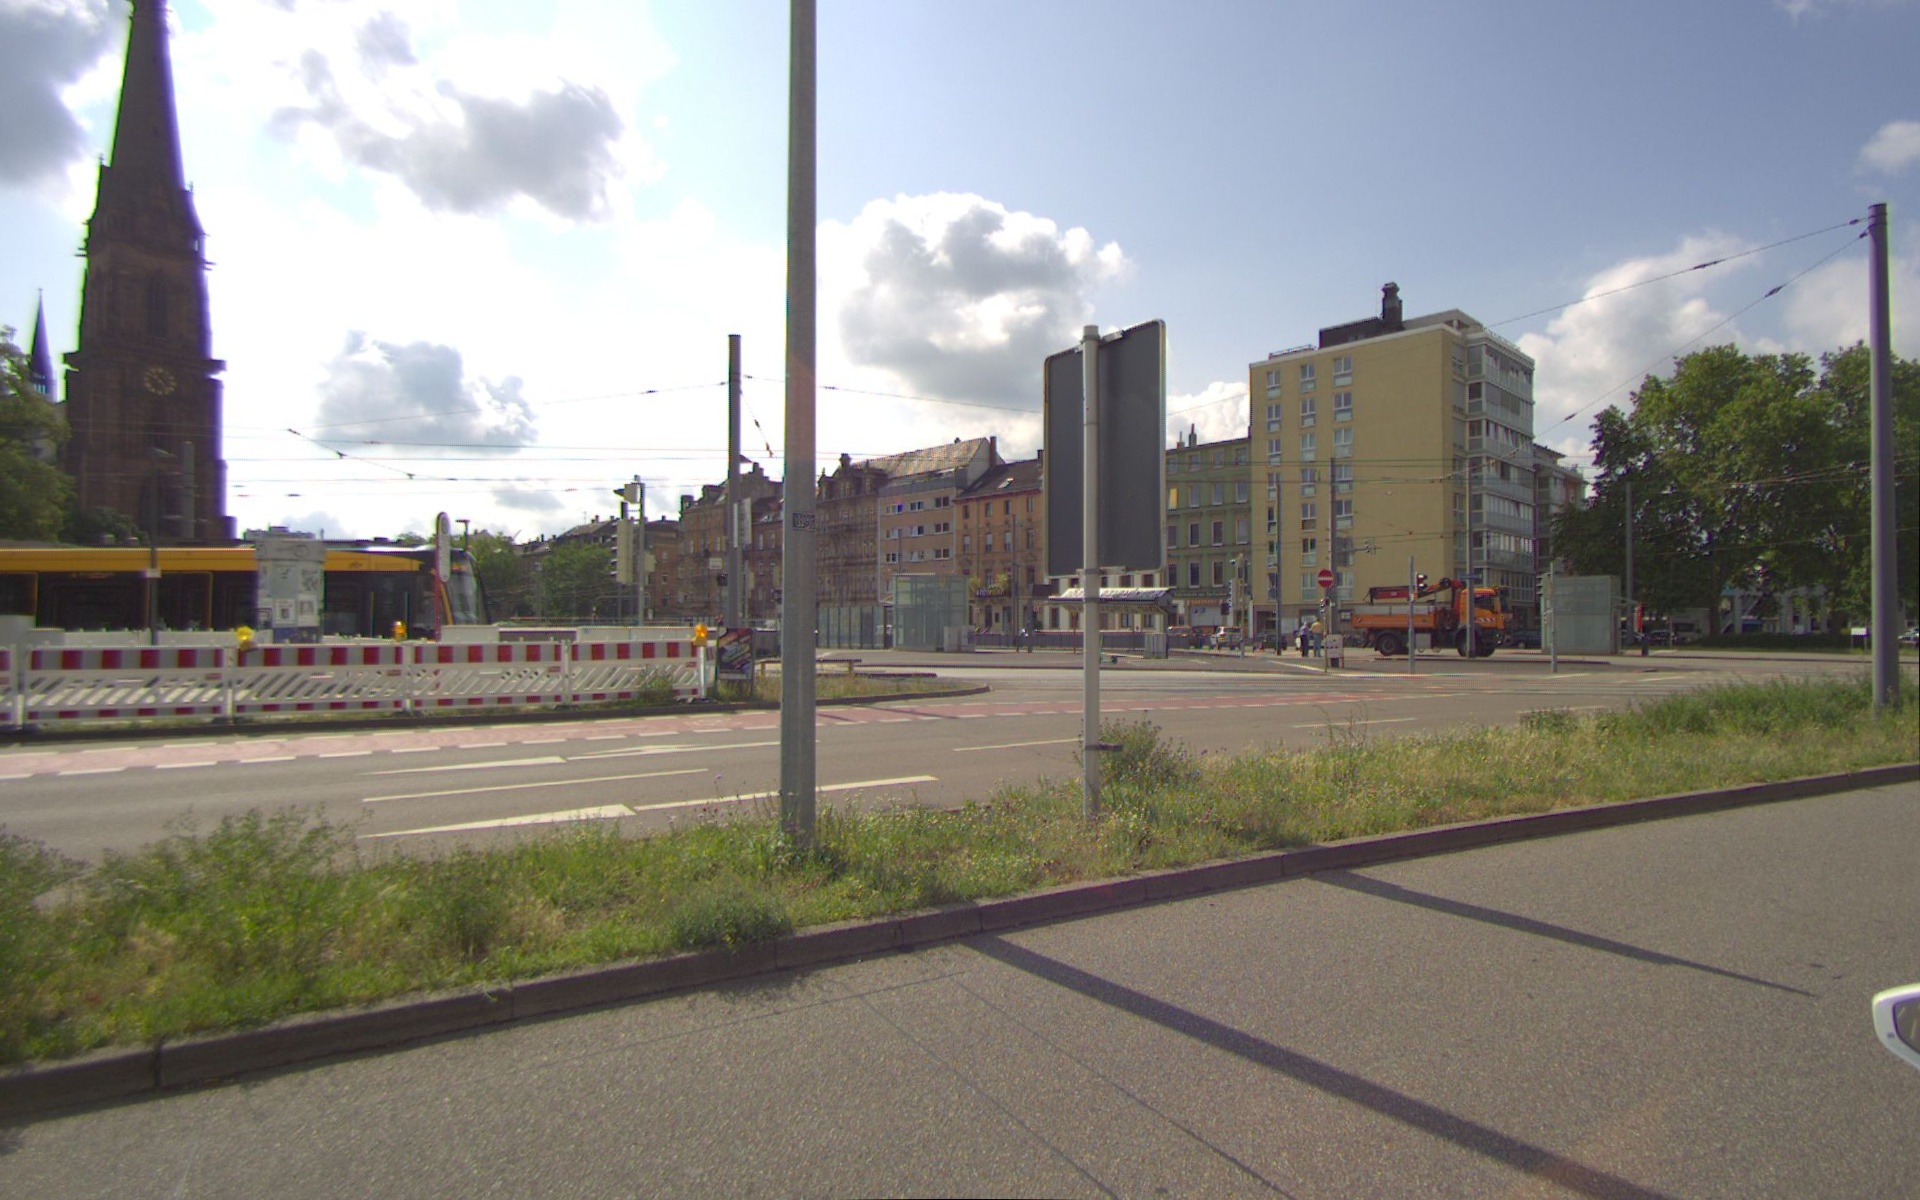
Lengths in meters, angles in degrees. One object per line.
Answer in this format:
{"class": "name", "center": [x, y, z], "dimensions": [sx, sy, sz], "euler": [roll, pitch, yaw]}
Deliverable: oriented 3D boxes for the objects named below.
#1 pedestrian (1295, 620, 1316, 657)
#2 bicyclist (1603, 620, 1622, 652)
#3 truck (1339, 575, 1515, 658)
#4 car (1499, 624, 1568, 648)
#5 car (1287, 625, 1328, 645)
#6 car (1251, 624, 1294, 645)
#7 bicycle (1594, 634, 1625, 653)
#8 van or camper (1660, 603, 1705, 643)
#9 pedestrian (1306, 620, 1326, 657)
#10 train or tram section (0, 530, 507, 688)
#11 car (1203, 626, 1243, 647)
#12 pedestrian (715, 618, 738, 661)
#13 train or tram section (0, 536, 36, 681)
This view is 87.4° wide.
{"class": "pedestrian", "center": [18.083, 2.005, 52.564], "dimensions": [0.809, 1.884, 0.696], "euler": [1, -1, -29]}
{"class": "bicyclist", "center": [38.431, 2.126, 59.166], "dimensions": [0.875, 1.895, 0.760], "euler": [-1, -1, 40]}
{"class": "truck", "center": [23.487, 0.864, 50.864], "dimensions": [7.823, 3.907, 2.189], "euler": [-1, -2, 41]}
{"class": "car", "center": [40.872, 2.555, 71.600], "dimensions": [3.942, 1.684, 1.990], "euler": [-1, -2, 42]}
{"class": "car", "center": [23.972, 2.397, 69.337], "dimensions": [1.663, 1.368, 3.678], "euler": [0, -1, 2]}
{"class": "car", "center": [21.862, 2.408, 70.367], "dimensions": [1.834, 1.455, 4.007], "euler": [0, -1, 2]}
{"class": "bicycle", "center": [38.299, 2.553, 59.231], "dimensions": [1.447, 1.131, 0.584], "euler": [-1, -2, 40]}
{"class": "van or camper", "center": [55.440, 1.760, 77.015], "dimensions": [2.550, 2.946, 6.073], "euler": [-1, -2, 38]}
{"class": "pedestrian", "center": [18.399, 2.000, 51.938], "dimensions": [0.772, 1.893, 0.648], "euler": [1, -1, -28]}
{"class": "train or tram section", "center": [-17.829, 0.245, 24.646], "dimensions": [12.168, 3.619, 2.669], "euler": [0, -1, 0]}
{"class": "car", "center": [19.146, 2.649, 73.257], "dimensions": [1.665, 1.520, 3.674], "euler": [0, -1, -5]}
{"class": "pedestrian", "center": [-10.057, 1.697, 43.327], "dimensions": [0.789, 1.820, 0.965], "euler": [0, -1, -3]}
{"class": "train or tram section", "center": [-30.024, 0.177, 24.645], "dimensions": [12.168, 3.611, 2.630], "euler": [0, -1, 0]}
